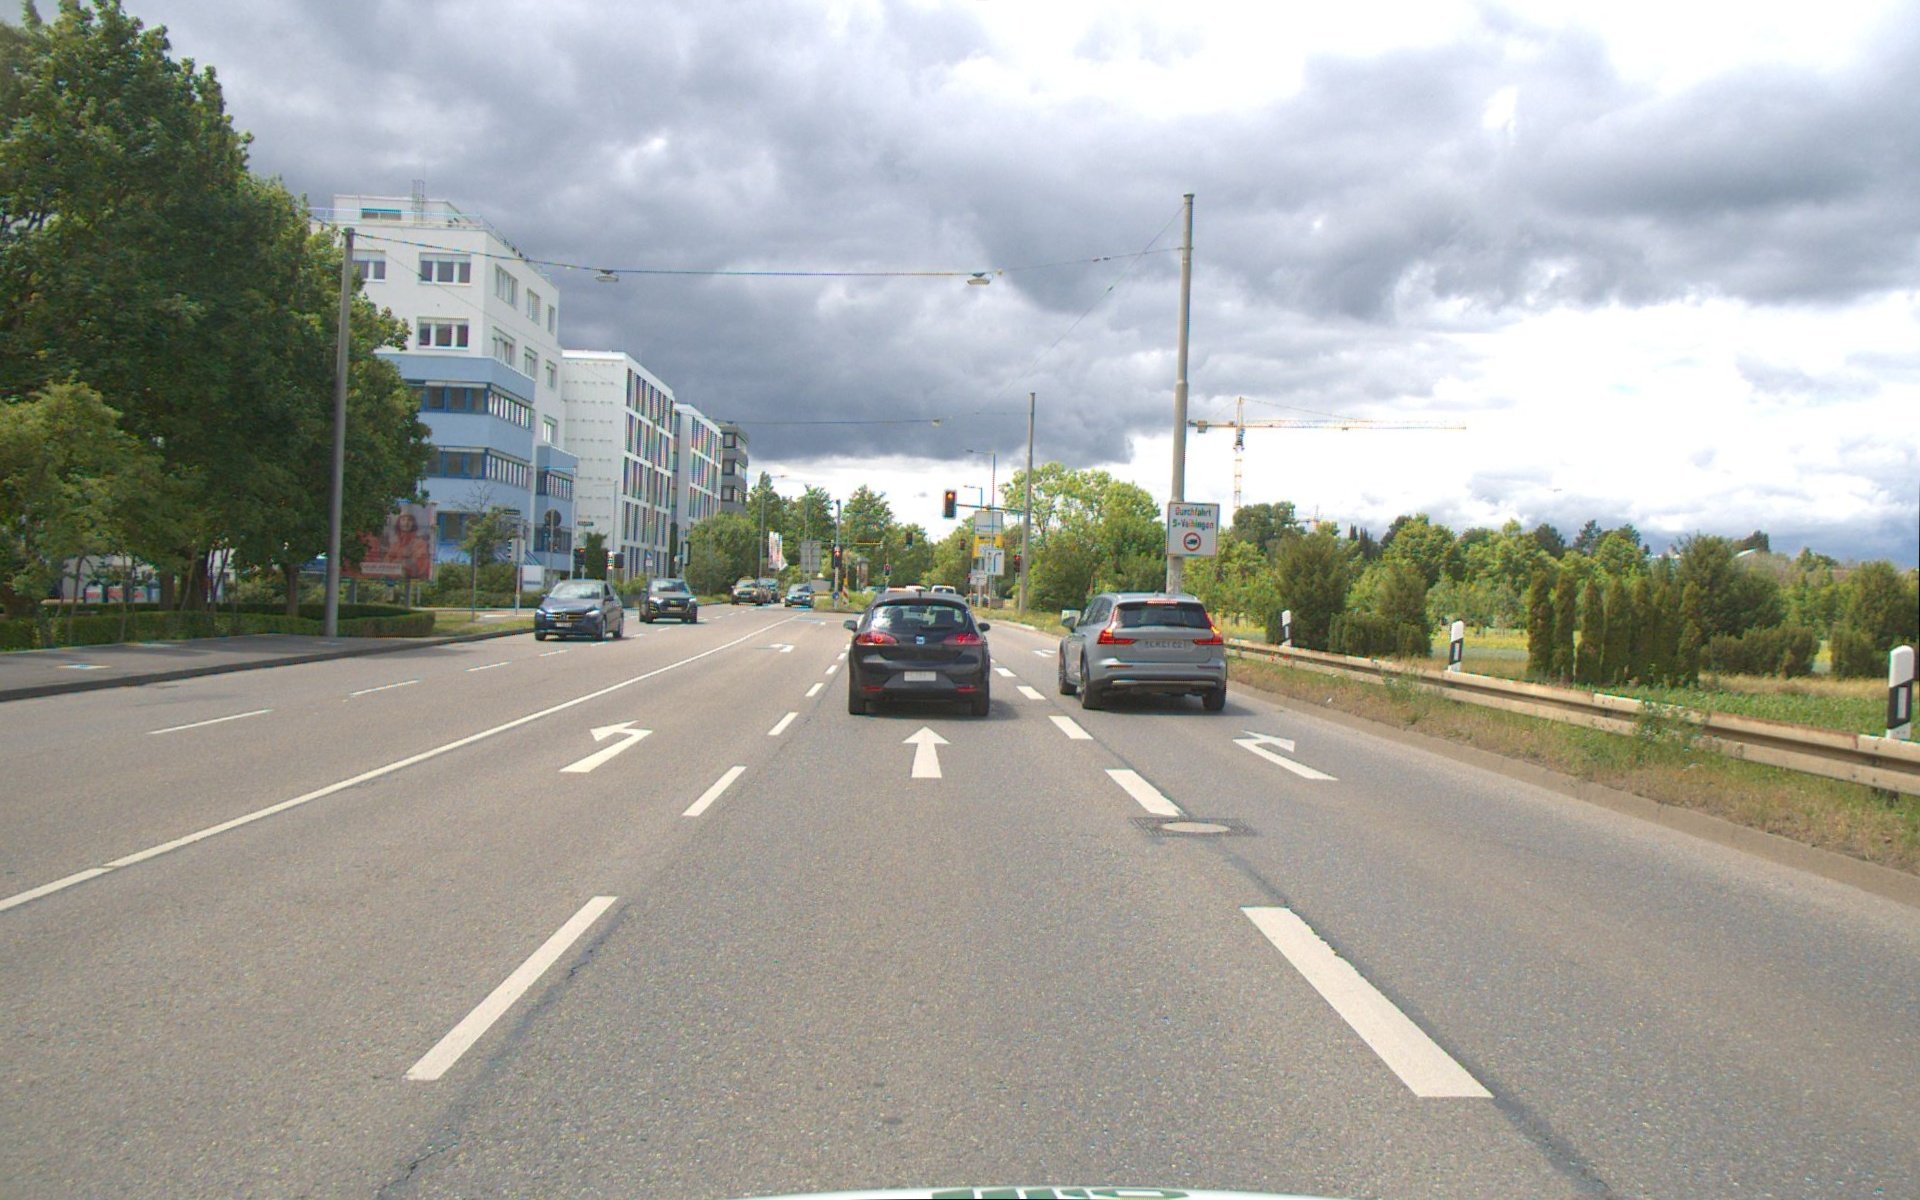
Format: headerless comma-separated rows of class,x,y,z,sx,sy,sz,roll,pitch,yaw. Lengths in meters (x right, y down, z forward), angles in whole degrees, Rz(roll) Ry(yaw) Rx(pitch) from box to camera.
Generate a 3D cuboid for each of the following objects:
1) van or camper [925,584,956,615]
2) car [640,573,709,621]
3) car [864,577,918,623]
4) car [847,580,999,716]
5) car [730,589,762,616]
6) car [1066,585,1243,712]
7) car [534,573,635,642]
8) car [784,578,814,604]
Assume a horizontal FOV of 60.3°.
van or camper,-1.402,-0.028,116.575,1.862,1.960,3.994,0,-4,-5
car,-10.572,-0.100,61.612,1.830,1.643,4.570,1,0,-1
car,-2.724,-0.026,64.514,1.944,1.618,4.223,2,1,-4
car,-0.414,0.561,20.959,1.712,1.510,4.000,1,0,0
car,-13.504,0.141,104.659,1.716,1.659,3.998,0,0,-3
car,2.522,0.603,22.430,1.918,1.552,4.340,0,0,0
car,-9.913,0.190,43.923,1.761,1.612,4.311,5,0,-3
car,-10.091,-0.569,103.830,1.635,1.551,4.006,0,2,-3
